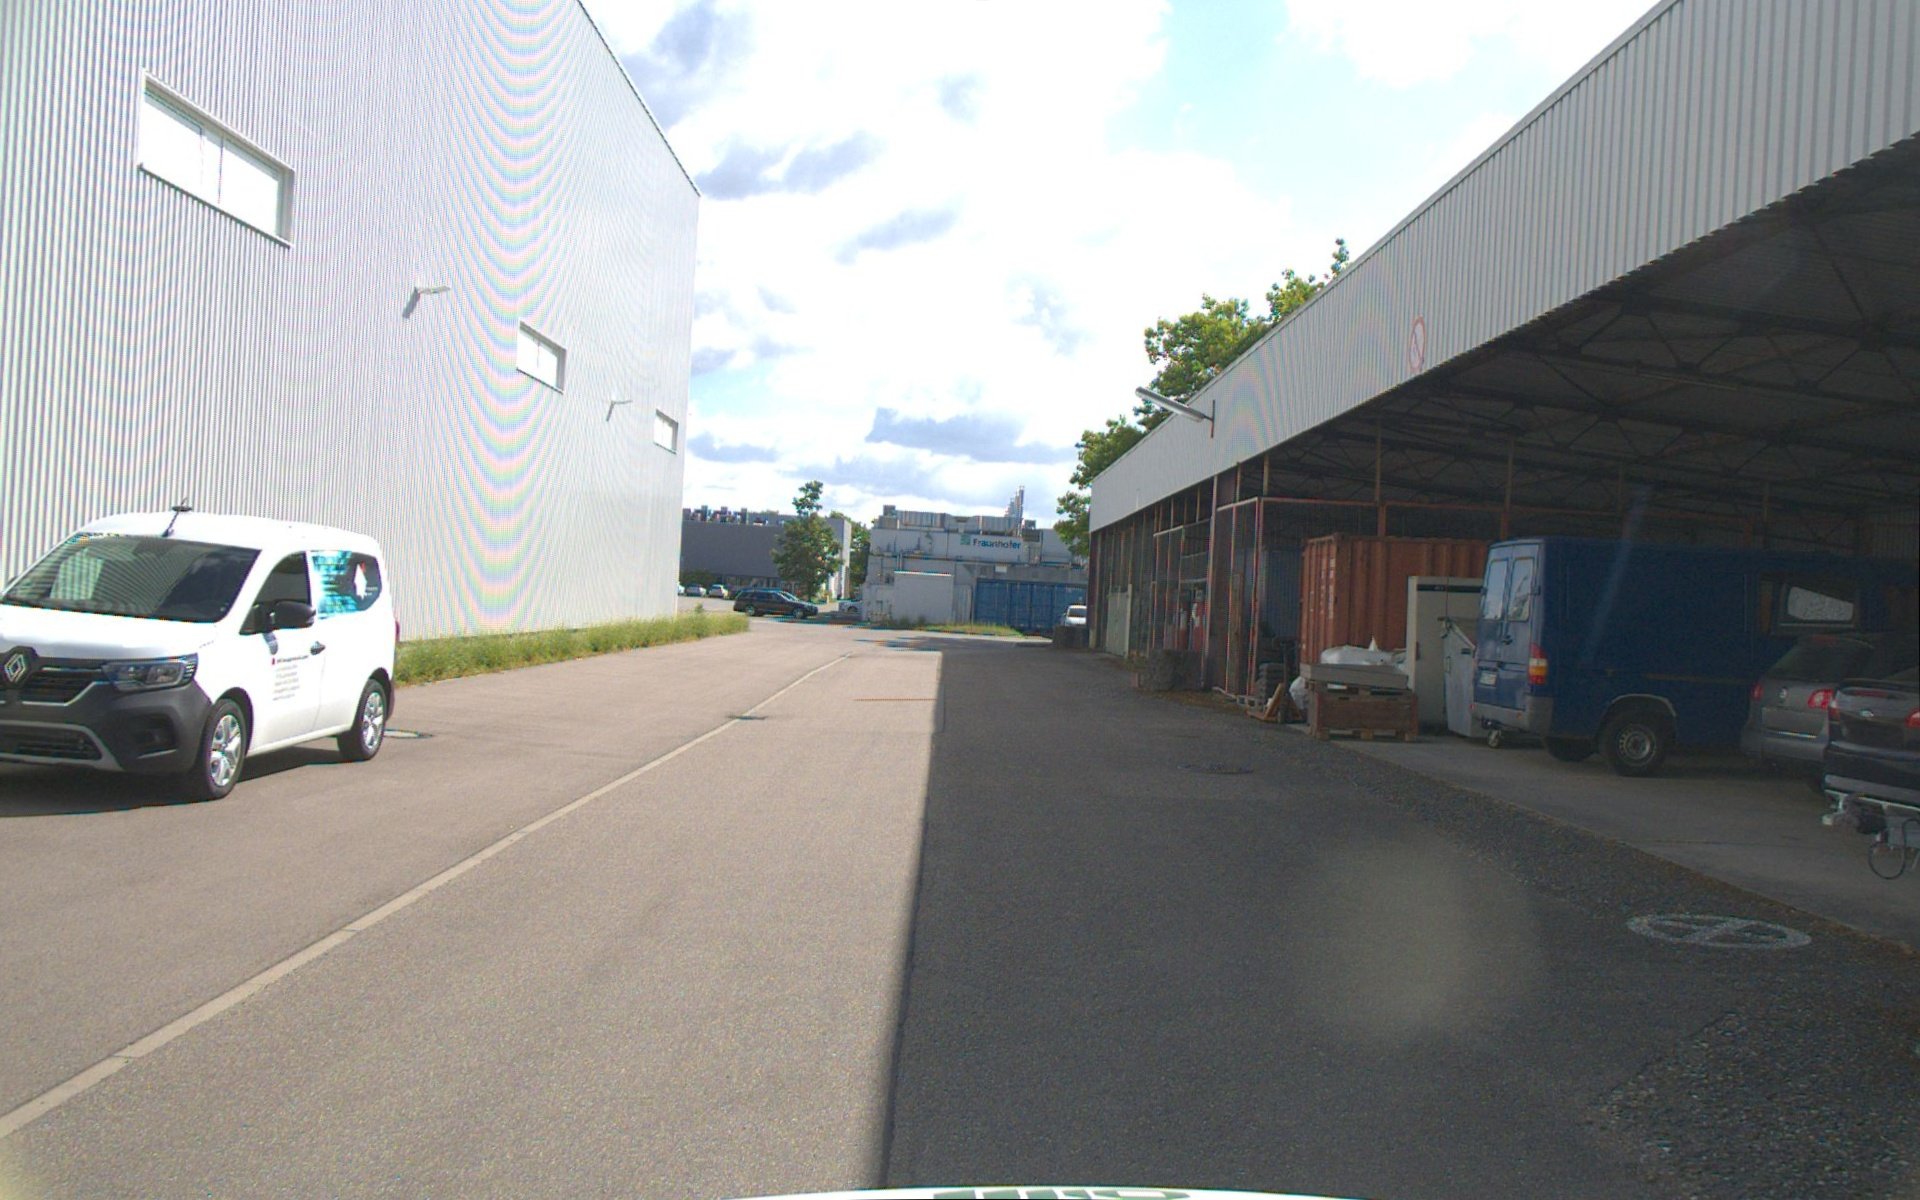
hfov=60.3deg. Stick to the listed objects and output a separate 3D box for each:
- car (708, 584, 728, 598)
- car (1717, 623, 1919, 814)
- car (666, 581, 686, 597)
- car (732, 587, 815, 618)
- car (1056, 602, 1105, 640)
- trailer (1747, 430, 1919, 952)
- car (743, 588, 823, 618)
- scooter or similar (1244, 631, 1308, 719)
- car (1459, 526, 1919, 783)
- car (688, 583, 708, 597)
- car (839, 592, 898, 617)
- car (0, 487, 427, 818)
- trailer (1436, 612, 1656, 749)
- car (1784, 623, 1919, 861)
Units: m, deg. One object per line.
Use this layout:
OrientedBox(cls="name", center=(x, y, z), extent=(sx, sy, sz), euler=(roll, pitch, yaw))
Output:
OrientedBox(cls="car", center=(-27.901, -1.049, 190.574), extent=(1.840, 1.564, 4.033), euler=(1, 0, -3))
OrientedBox(cls="car", center=(8.861, 0.992, 14.027), extent=(4.024, 1.479, 1.850), euler=(1, 0, -1))
OrientedBox(cls="car", center=(-32.692, -1.252, 190.413), extent=(1.840, 1.719, 4.033), euler=(1, 0, -3))
OrientedBox(cls="car", center=(-10.569, 0.159, 93.874), extent=(4.438, 1.468, 1.987), euler=(3, -2, -1))
OrientedBox(cls="car", center=(5.922, 1.016, 81.588), extent=(1.941, 1.621, 4.340), euler=(4, 1, -1))
OrientedBox(cls="trailer", center=(6.605, 0.466, 8.333), extent=(4.449, 2.376, 1.688), euler=(1, 0, 0))
OrientedBox(cls="car", center=(-10.378, 0.171, 97.136), extent=(4.438, 1.468, 1.903), euler=(3, -2, -1))
OrientedBox(cls="scooter or similar", center=(4.367, 1.021, 22.923), extent=(0.510, 1.154, 1.592), euler=(2, -1, -1))
OrientedBox(cls="car", center=(8.098, 0.568, 17.215), extent=(5.111, 2.337, 2.083), euler=(2, -1, -2))
OrientedBox(cls="car", center=(-30.178, -1.110, 190.309), extent=(1.840, 1.564, 4.033), euler=(1, 0, -3))
OrientedBox(cls="car", center=(-6.709, 0.356, 121.694), extent=(4.192, 1.596, 1.987), euler=(3, -2, -1))
OrientedBox(cls="car", center=(-5.533, 0.262, 11.783), extent=(1.889, 1.821, 4.597), euler=(4, 0, -1))
OrientedBox(cls="trailer", center=(6.957, 0.936, 19.795), extent=(2.050, 1.488, 1.642), euler=(2, -1, 2))
OrientedBox(cls="car", center=(8.032, 0.941, 10.954), extent=(4.258, 1.458, 1.863), euler=(2, 0, -4))
